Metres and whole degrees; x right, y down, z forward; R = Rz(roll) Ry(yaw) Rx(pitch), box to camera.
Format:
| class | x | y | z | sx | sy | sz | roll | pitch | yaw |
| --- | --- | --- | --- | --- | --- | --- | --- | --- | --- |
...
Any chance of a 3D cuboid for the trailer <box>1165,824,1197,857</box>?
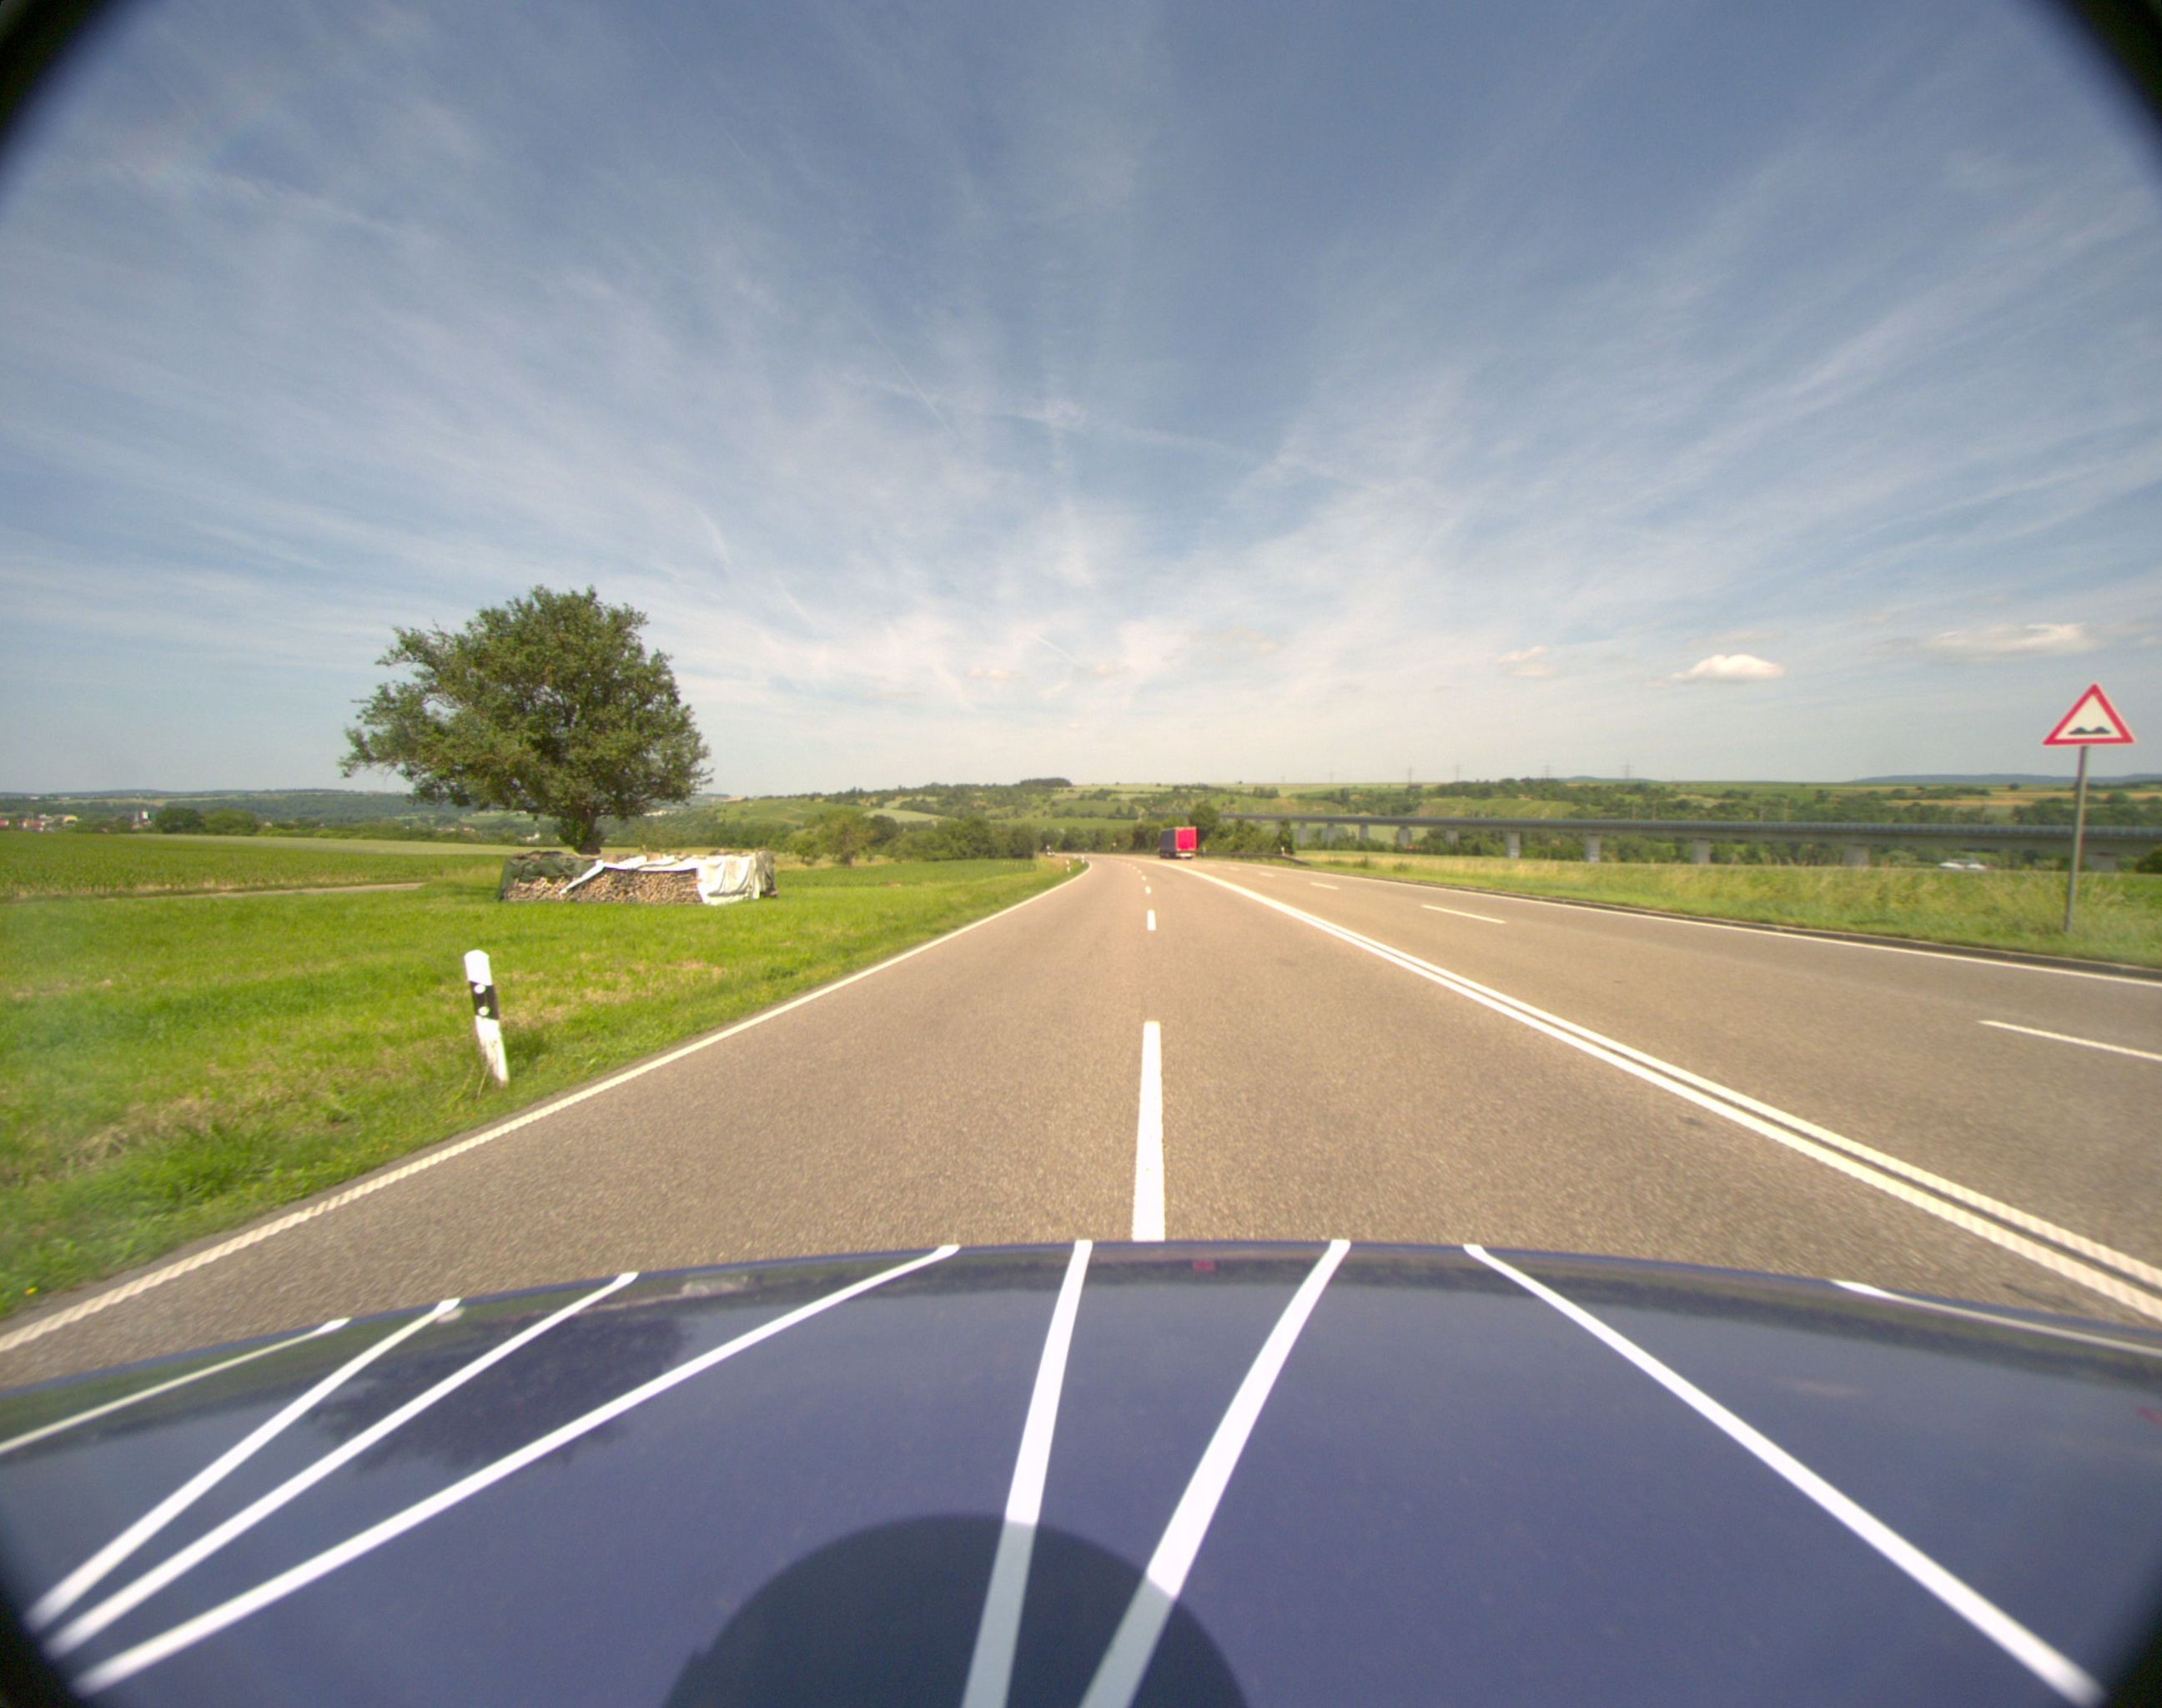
| class | x | y | z | sx | sy | sz | roll | pitch | yaw |
| --- | --- | --- | --- | --- | --- | --- | --- | --- | --- |
| trailer | 13.202 | -1.810 | 101.397 | 2.551 | 4.078 | 13.581 | -1 | 1 | 0 |

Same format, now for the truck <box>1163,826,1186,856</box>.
| class | x | y | z | sx | sy | sz | roll | pitch | yaw |
| --- | --- | --- | --- | --- | --- | --- | --- | --- | --- |
| truck | 13.265 | -1.826 | 108.193 | 2.623 | 4.078 | 6.087 | -1 | 1 | 1 |
